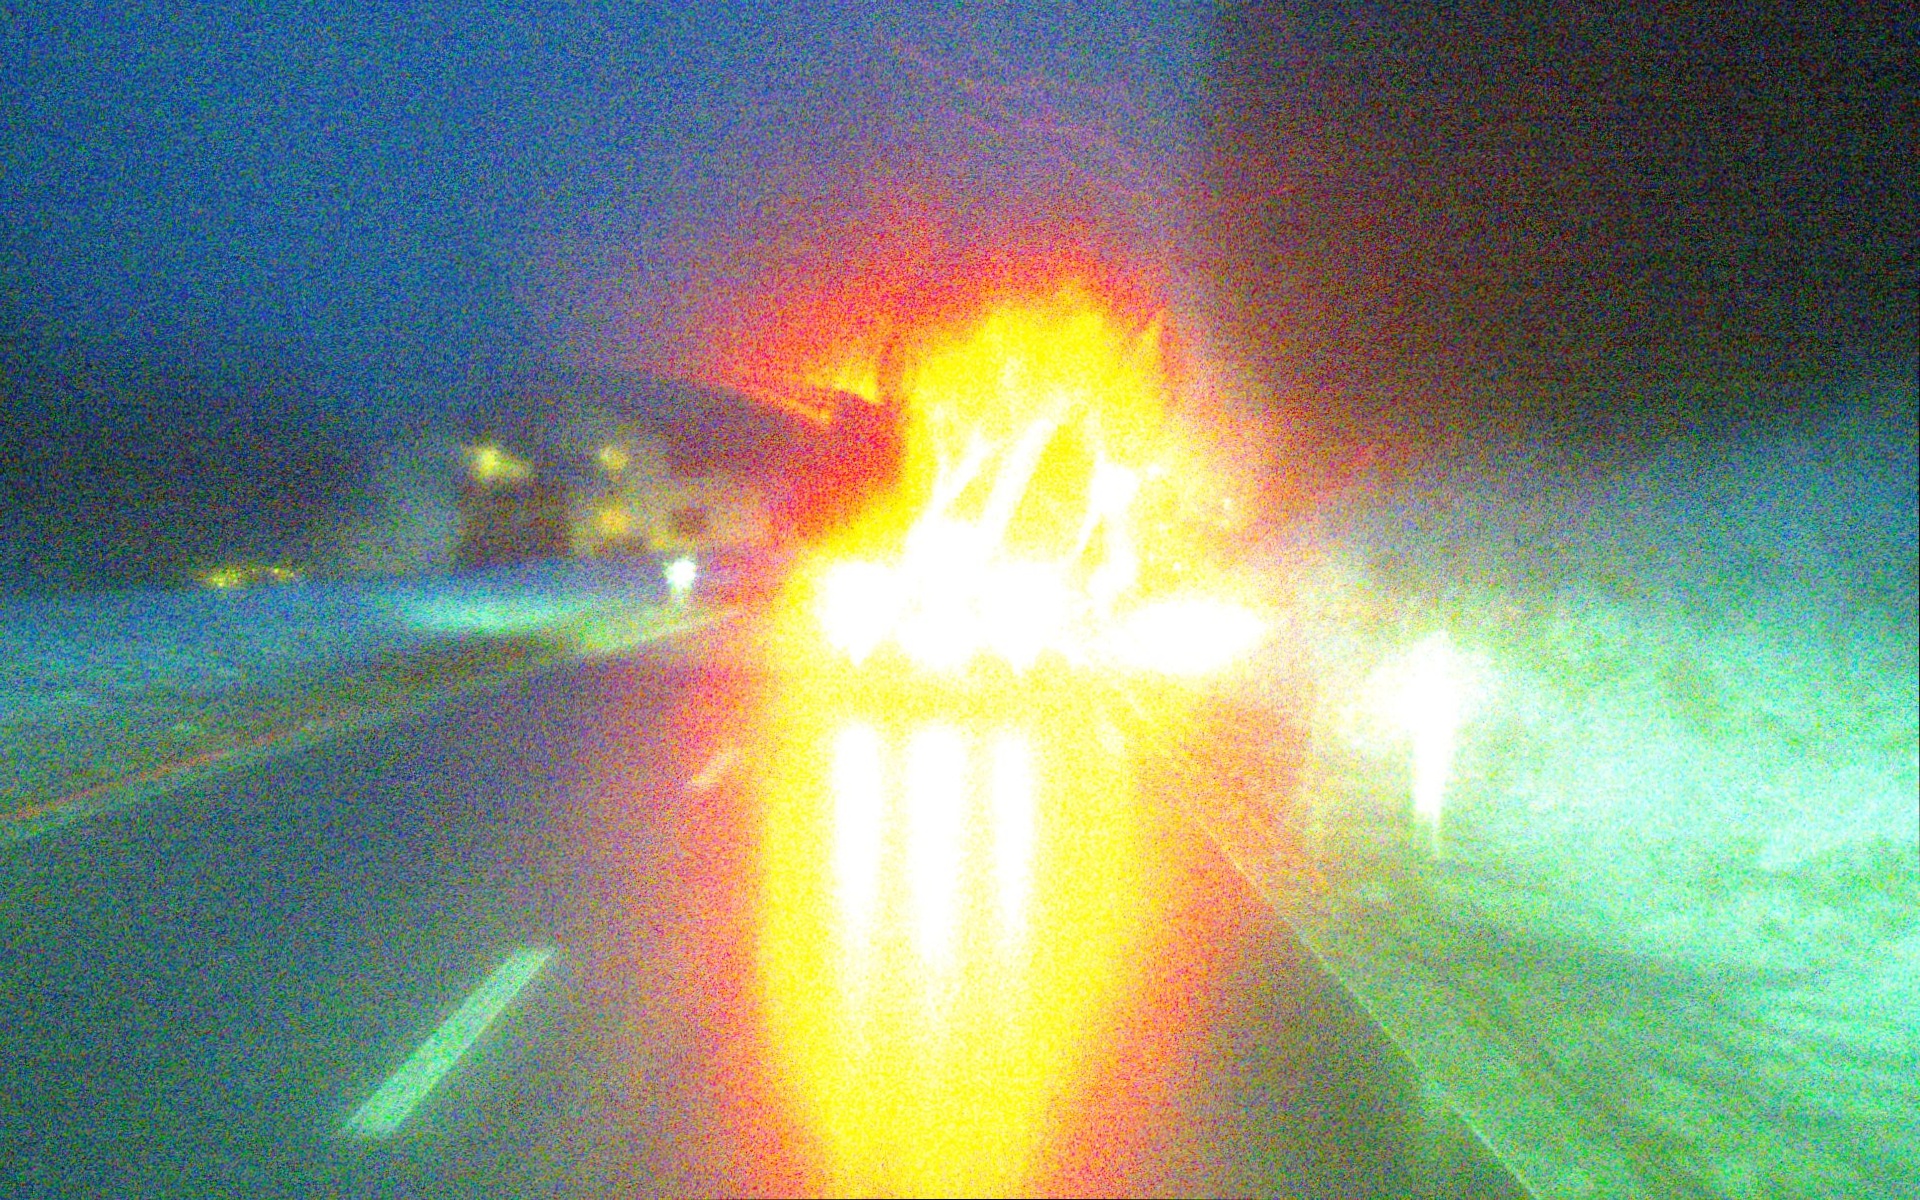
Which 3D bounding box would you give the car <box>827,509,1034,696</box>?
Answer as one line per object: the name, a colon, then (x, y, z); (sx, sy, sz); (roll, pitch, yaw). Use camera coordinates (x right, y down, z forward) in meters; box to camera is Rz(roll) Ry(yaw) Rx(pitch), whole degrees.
car: (-0.290, -0.012, 31.895); (1.801, 1.623, 3.615); (0, 1, -1)
